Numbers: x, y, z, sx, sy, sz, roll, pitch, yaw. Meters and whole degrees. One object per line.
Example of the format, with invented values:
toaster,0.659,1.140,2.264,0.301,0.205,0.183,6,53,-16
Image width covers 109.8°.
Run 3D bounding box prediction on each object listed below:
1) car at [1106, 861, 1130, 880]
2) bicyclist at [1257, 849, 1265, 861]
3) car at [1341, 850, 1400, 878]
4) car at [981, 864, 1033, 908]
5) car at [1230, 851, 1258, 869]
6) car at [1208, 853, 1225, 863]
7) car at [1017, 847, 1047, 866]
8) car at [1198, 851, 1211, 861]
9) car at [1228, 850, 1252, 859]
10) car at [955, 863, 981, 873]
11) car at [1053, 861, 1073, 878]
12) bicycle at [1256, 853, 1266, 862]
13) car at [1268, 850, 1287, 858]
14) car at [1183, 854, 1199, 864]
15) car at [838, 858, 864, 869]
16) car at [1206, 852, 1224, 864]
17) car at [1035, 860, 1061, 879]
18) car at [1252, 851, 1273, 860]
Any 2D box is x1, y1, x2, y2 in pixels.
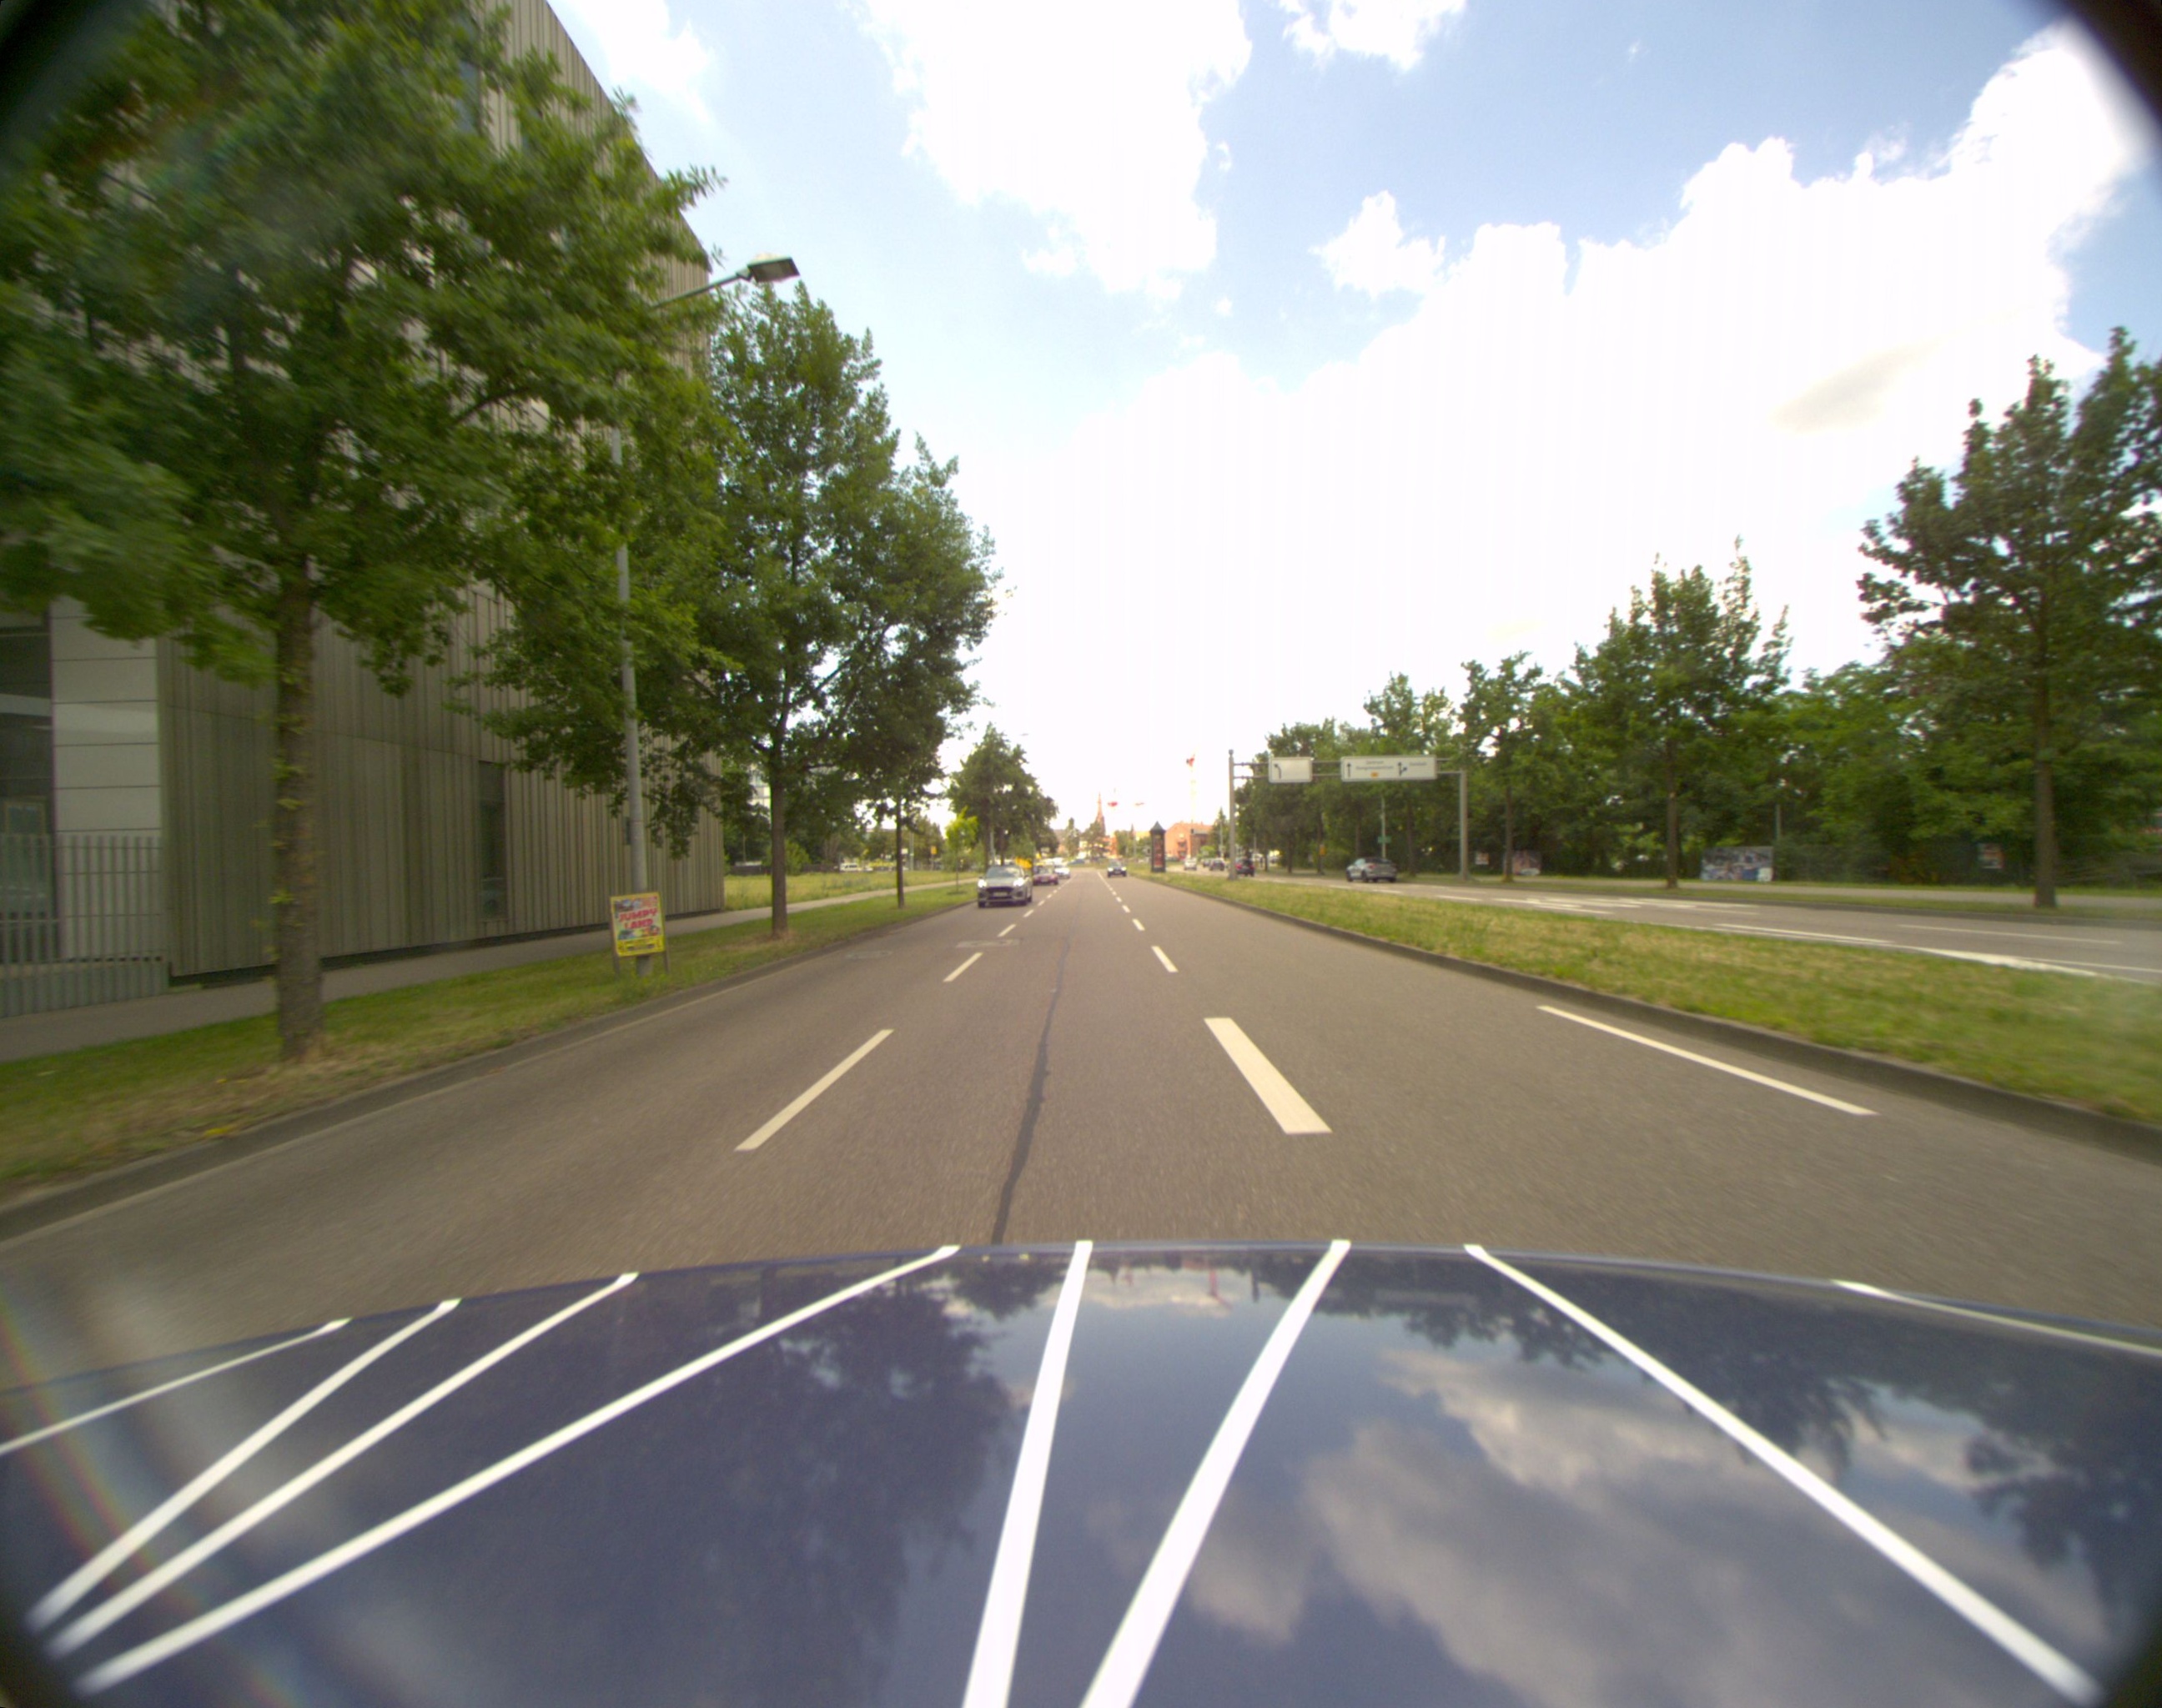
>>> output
car,3.678,1.662,75.645,1.775,1.590,4.124,-3,2,-6
bicyclist,25.211,0.141,106.664,0.832,1.556,0.883,-4,1,1
car,17.164,0.572,45.240,1.746,1.536,4.573,0,0,0
car,-2.777,1.158,29.227,1.674,1.462,4.091,-2,0,-2
car,14.859,0.562,69.293,1.745,1.560,4.276,0,0,2
car,20.757,0.597,116.610,1.912,1.532,4.374,-1,0,19
car,-7.819,0.439,120.675,2.288,2.836,7.241,-2,0,-23
car,20.186,0.286,124.399,1.725,1.581,5.018,-1,0,14
car,28.155,0.067,134.257,4.763,1.471,1.838,0,1,-44
car,-20.826,2.480,139.333,5.055,1.665,2.004,2,1,43
car,-1.900,1.573,78.907,1.675,1.589,4.125,-3,1,-6
bicycle,25.235,0.487,106.541,0.763,1.212,2.016,-4,1,1
car,35.118,-0.021,135.819,1.838,1.435,4.428,1,1,37
car,15.243,0.691,105.548,1.767,1.431,4.309,-1,0,1
car,-50.452,2.103,166.663,2.144,2.135,5.160,-2,0,30
car,18.118,0.537,102.940,1.767,1.568,5.033,-1,0,4
car,-2.405,1.131,56.269,1.674,1.254,4.092,-1,0,0
car,34.050,0.255,142.549,1.838,1.789,4.798,1,1,39
